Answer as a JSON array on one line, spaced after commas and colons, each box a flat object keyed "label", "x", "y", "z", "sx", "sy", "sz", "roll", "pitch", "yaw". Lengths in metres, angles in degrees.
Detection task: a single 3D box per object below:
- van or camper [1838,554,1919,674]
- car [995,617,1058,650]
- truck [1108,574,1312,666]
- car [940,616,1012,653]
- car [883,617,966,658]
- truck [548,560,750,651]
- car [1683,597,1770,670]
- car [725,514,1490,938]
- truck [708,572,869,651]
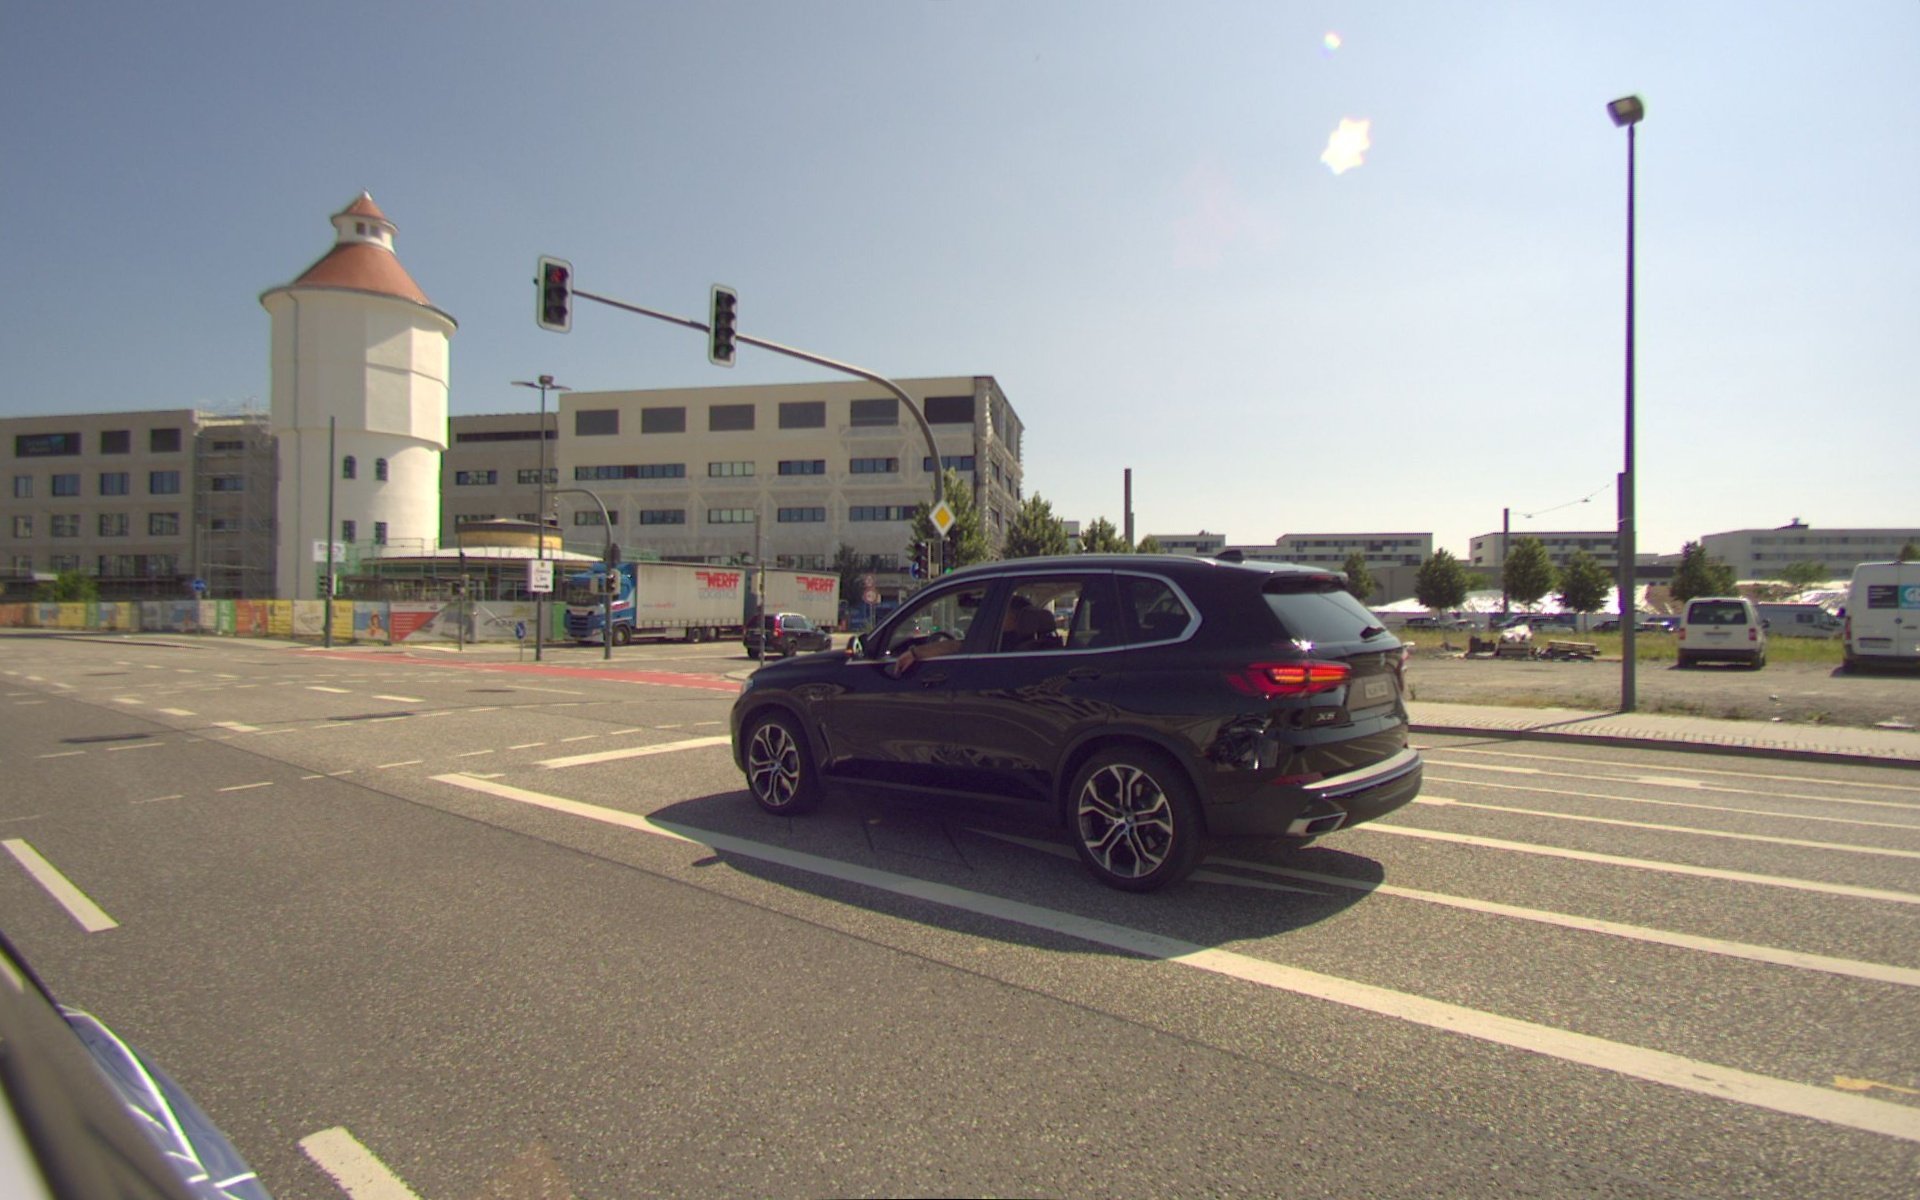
[{"label": "van or camper", "x": 22.947, "y": 0.305, "z": 24.556, "sx": 2.260, "sy": 2.682, "sz": 4.846, "roll": -2, "pitch": -1, "yaw": 43}, {"label": "car", "x": 3.557, "y": 1.748, "z": 53.576, "sx": 1.872, "sy": 1.542, "sz": 3.865, "roll": -3, "pitch": -2, "yaw": 28}, {"label": "truck", "x": 7.854, "y": 0.627, "z": 32.051, "sx": 5.925, "sy": 2.675, "sz": 2.150, "roll": 0, "pitch": -1, "yaw": 32}, {"label": "car", "x": 0.816, "y": 1.625, "z": 48.397, "sx": 1.872, "sy": 1.652, "sz": 3.963, "roll": -1, "pitch": -1, "yaw": 27}, {"label": "car", "x": -1.489, "y": 1.573, "z": 43.466, "sx": 1.872, "sy": 1.652, "sz": 3.963, "roll": -1, "pitch": -1, "yaw": 27}, {"label": "truck", "x": -15.273, "y": 0.168, "z": 51.071, "sx": 3.284, "sy": 4.098, "sz": 10.886, "roll": 0, "pitch": 1, "yaw": 26}, {"label": "car", "x": 20.277, "y": 0.820, "z": 26.710, "sx": 1.656, "sy": 1.771, "sz": 3.827, "roll": -1, "pitch": -1, "yaw": 39}, {"label": "car", "x": 0.639, "y": 0.536, "z": 6.587, "sx": 4.654, "sy": 1.802, "sz": 1.919, "roll": -1, "pitch": 1, "yaw": 42}, {"label": "truck", "x": -9.984, "y": 0.541, "z": 60.692, "sx": 3.333, "sy": 4.307, "sz": 10.835, "roll": 0, "pitch": 1, "yaw": 31}]
